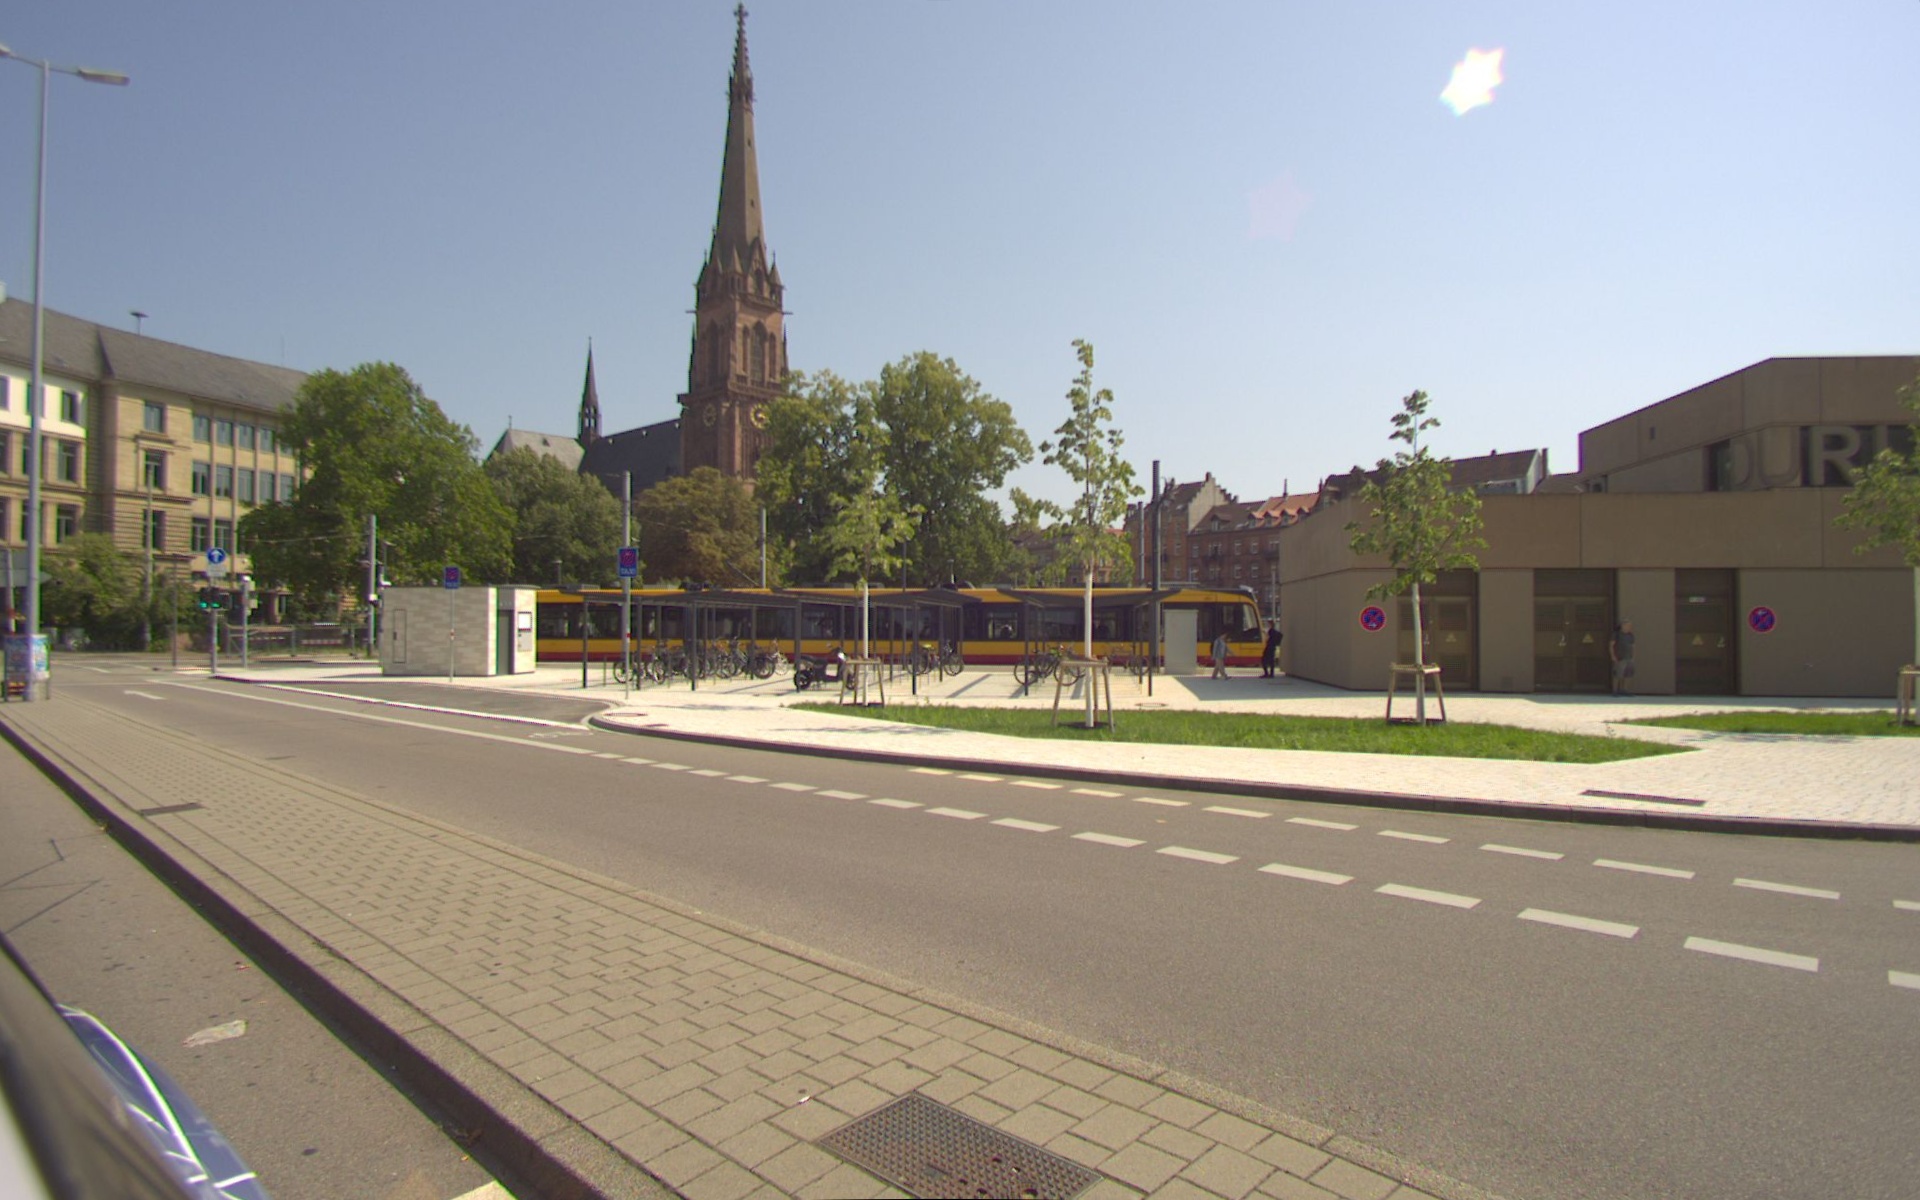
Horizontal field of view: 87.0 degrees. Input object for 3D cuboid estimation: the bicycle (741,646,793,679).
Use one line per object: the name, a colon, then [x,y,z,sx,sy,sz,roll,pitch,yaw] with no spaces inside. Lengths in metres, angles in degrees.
bicycle: [-6.242,2.033,32.783,1.623,1.048,0.411,-1,-2,11]

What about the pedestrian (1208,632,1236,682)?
pedestrian: [7.677,1.664,29.662,0.668,1.421,0.438,-2,-2,42]

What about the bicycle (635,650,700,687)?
bicycle: [-8.502,1.986,29.419,1.751,1.048,0.525,-1,-2,11]

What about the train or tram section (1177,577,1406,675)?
train or tram section: [13.031,1.108,40.567,8.147,3.597,3.137,-1,-3,8]

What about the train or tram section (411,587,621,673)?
train or tram section: [-19.777,1.389,45.349,8.231,3.588,3.130,-1,-3,8]

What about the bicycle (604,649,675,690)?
bicycle: [-8.857,1.918,27.968,1.845,1.090,0.525,-1,-2,11]

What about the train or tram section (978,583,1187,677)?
train or tram section: [4.985,1.288,41.720,8.150,3.625,3.153,-1,-3,8]

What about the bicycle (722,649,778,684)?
bicycle: [-6.275,1.982,30.222,1.623,1.048,0.411,-1,-2,11]

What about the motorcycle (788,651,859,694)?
motorcycle: [-3.516,1.875,26.158,1.760,1.077,0.490,-1,-2,11]

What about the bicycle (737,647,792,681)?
bicycle: [-6.051,1.982,31.306,1.623,1.048,0.411,-1,-2,11]

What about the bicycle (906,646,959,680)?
bicycle: [-0.856,1.983,31.874,1.623,1.048,0.411,-1,-2,11]

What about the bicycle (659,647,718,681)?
bicycle: [-8.504,2.008,31.737,1.751,1.048,0.525,-1,-2,11]

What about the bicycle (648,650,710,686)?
bicycle: [-8.354,2.013,30.105,1.751,1.048,0.525,-1,-2,11]

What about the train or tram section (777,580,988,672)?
train or tram section: [-3.194,1.171,42.925,8.427,3.625,3.153,-1,-3,8]

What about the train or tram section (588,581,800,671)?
train or tram section: [-11.522,1.198,44.154,8.427,3.625,3.153,-1,-3,8]

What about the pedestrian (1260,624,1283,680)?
pedestrian: [9.454,1.579,30.741,0.562,1.691,0.443,-1,-2,8]

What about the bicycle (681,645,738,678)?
bicycle: [-8.198,2.010,33.101,1.751,1.048,0.525,-1,-2,11]

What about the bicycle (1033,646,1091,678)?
bicycle: [3.288,2.005,32.748,1.834,0.993,0.512,-1,-2,7]

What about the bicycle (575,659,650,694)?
bicycle: [-9.203,2.011,26.786,1.878,0.890,0.490,-1,-2,11]

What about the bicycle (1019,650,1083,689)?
bicycle: [2.485,1.890,27.722,1.711,1.048,0.513,0,-2,1]

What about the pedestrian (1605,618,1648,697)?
pedestrian: [14.560,1.252,22.121,0.529,1.691,0.567,-1,-2,7]

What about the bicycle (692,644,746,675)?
bicycle: [-8.153,2.013,34.255,1.751,1.048,0.525,-1,-2,11]

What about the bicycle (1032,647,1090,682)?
bicycle: [3.087,1.959,31.045,1.708,1.048,0.514,0,-2,-4]
